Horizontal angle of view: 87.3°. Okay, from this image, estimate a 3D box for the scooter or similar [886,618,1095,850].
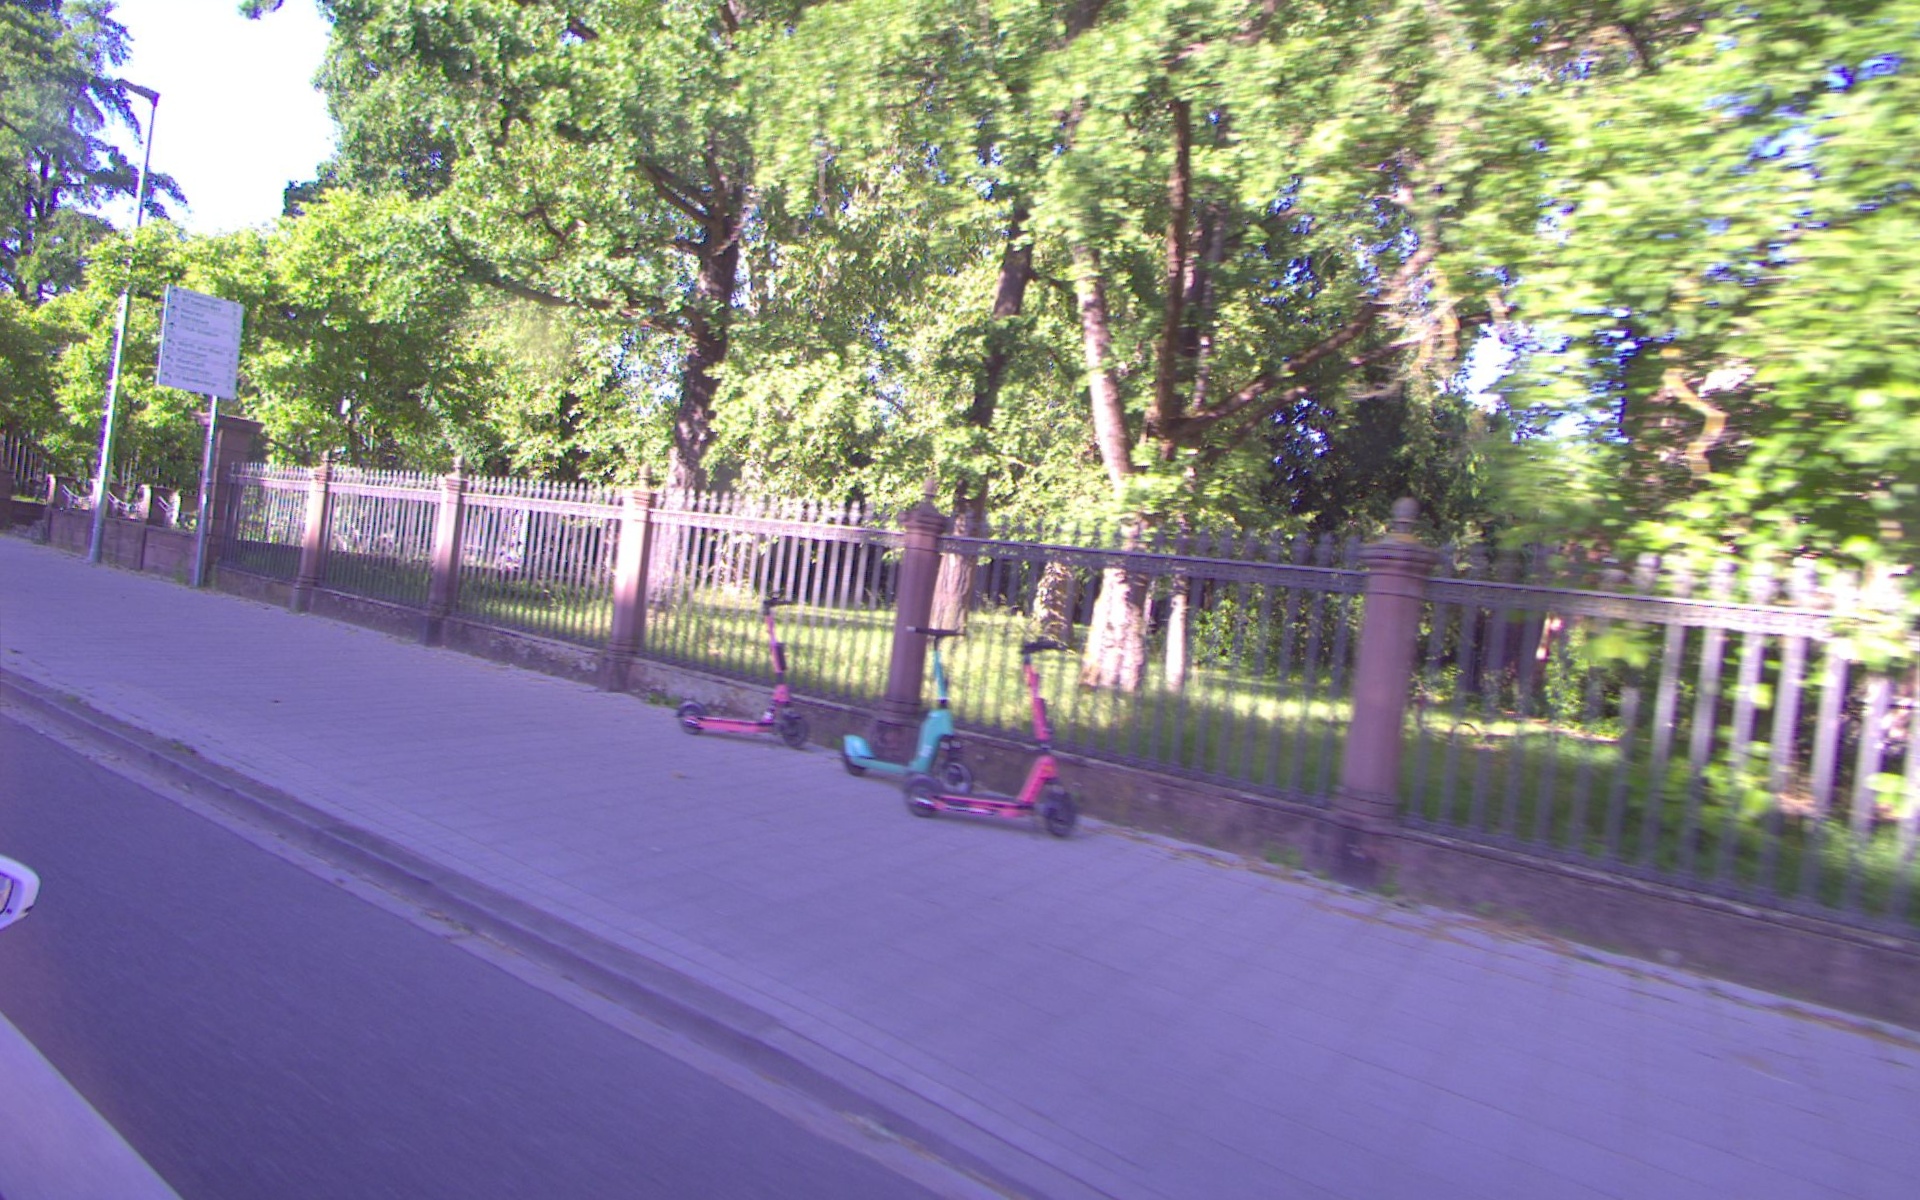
[{"bbox_3d":[0.184,0.808,6.296,1.139,1.256,0.297,7,2,17],"label":"scooter or similar"}]

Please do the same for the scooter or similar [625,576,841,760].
[{"bbox_3d":[-1.848,0.530,8.214,1.528,1.259,0.549,7,2,16],"label":"scooter or similar"}]

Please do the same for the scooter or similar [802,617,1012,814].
[{"bbox_3d":[-0.386,0.766,7.047,1.313,1.137,0.481,7,2,30],"label":"scooter or similar"}]
